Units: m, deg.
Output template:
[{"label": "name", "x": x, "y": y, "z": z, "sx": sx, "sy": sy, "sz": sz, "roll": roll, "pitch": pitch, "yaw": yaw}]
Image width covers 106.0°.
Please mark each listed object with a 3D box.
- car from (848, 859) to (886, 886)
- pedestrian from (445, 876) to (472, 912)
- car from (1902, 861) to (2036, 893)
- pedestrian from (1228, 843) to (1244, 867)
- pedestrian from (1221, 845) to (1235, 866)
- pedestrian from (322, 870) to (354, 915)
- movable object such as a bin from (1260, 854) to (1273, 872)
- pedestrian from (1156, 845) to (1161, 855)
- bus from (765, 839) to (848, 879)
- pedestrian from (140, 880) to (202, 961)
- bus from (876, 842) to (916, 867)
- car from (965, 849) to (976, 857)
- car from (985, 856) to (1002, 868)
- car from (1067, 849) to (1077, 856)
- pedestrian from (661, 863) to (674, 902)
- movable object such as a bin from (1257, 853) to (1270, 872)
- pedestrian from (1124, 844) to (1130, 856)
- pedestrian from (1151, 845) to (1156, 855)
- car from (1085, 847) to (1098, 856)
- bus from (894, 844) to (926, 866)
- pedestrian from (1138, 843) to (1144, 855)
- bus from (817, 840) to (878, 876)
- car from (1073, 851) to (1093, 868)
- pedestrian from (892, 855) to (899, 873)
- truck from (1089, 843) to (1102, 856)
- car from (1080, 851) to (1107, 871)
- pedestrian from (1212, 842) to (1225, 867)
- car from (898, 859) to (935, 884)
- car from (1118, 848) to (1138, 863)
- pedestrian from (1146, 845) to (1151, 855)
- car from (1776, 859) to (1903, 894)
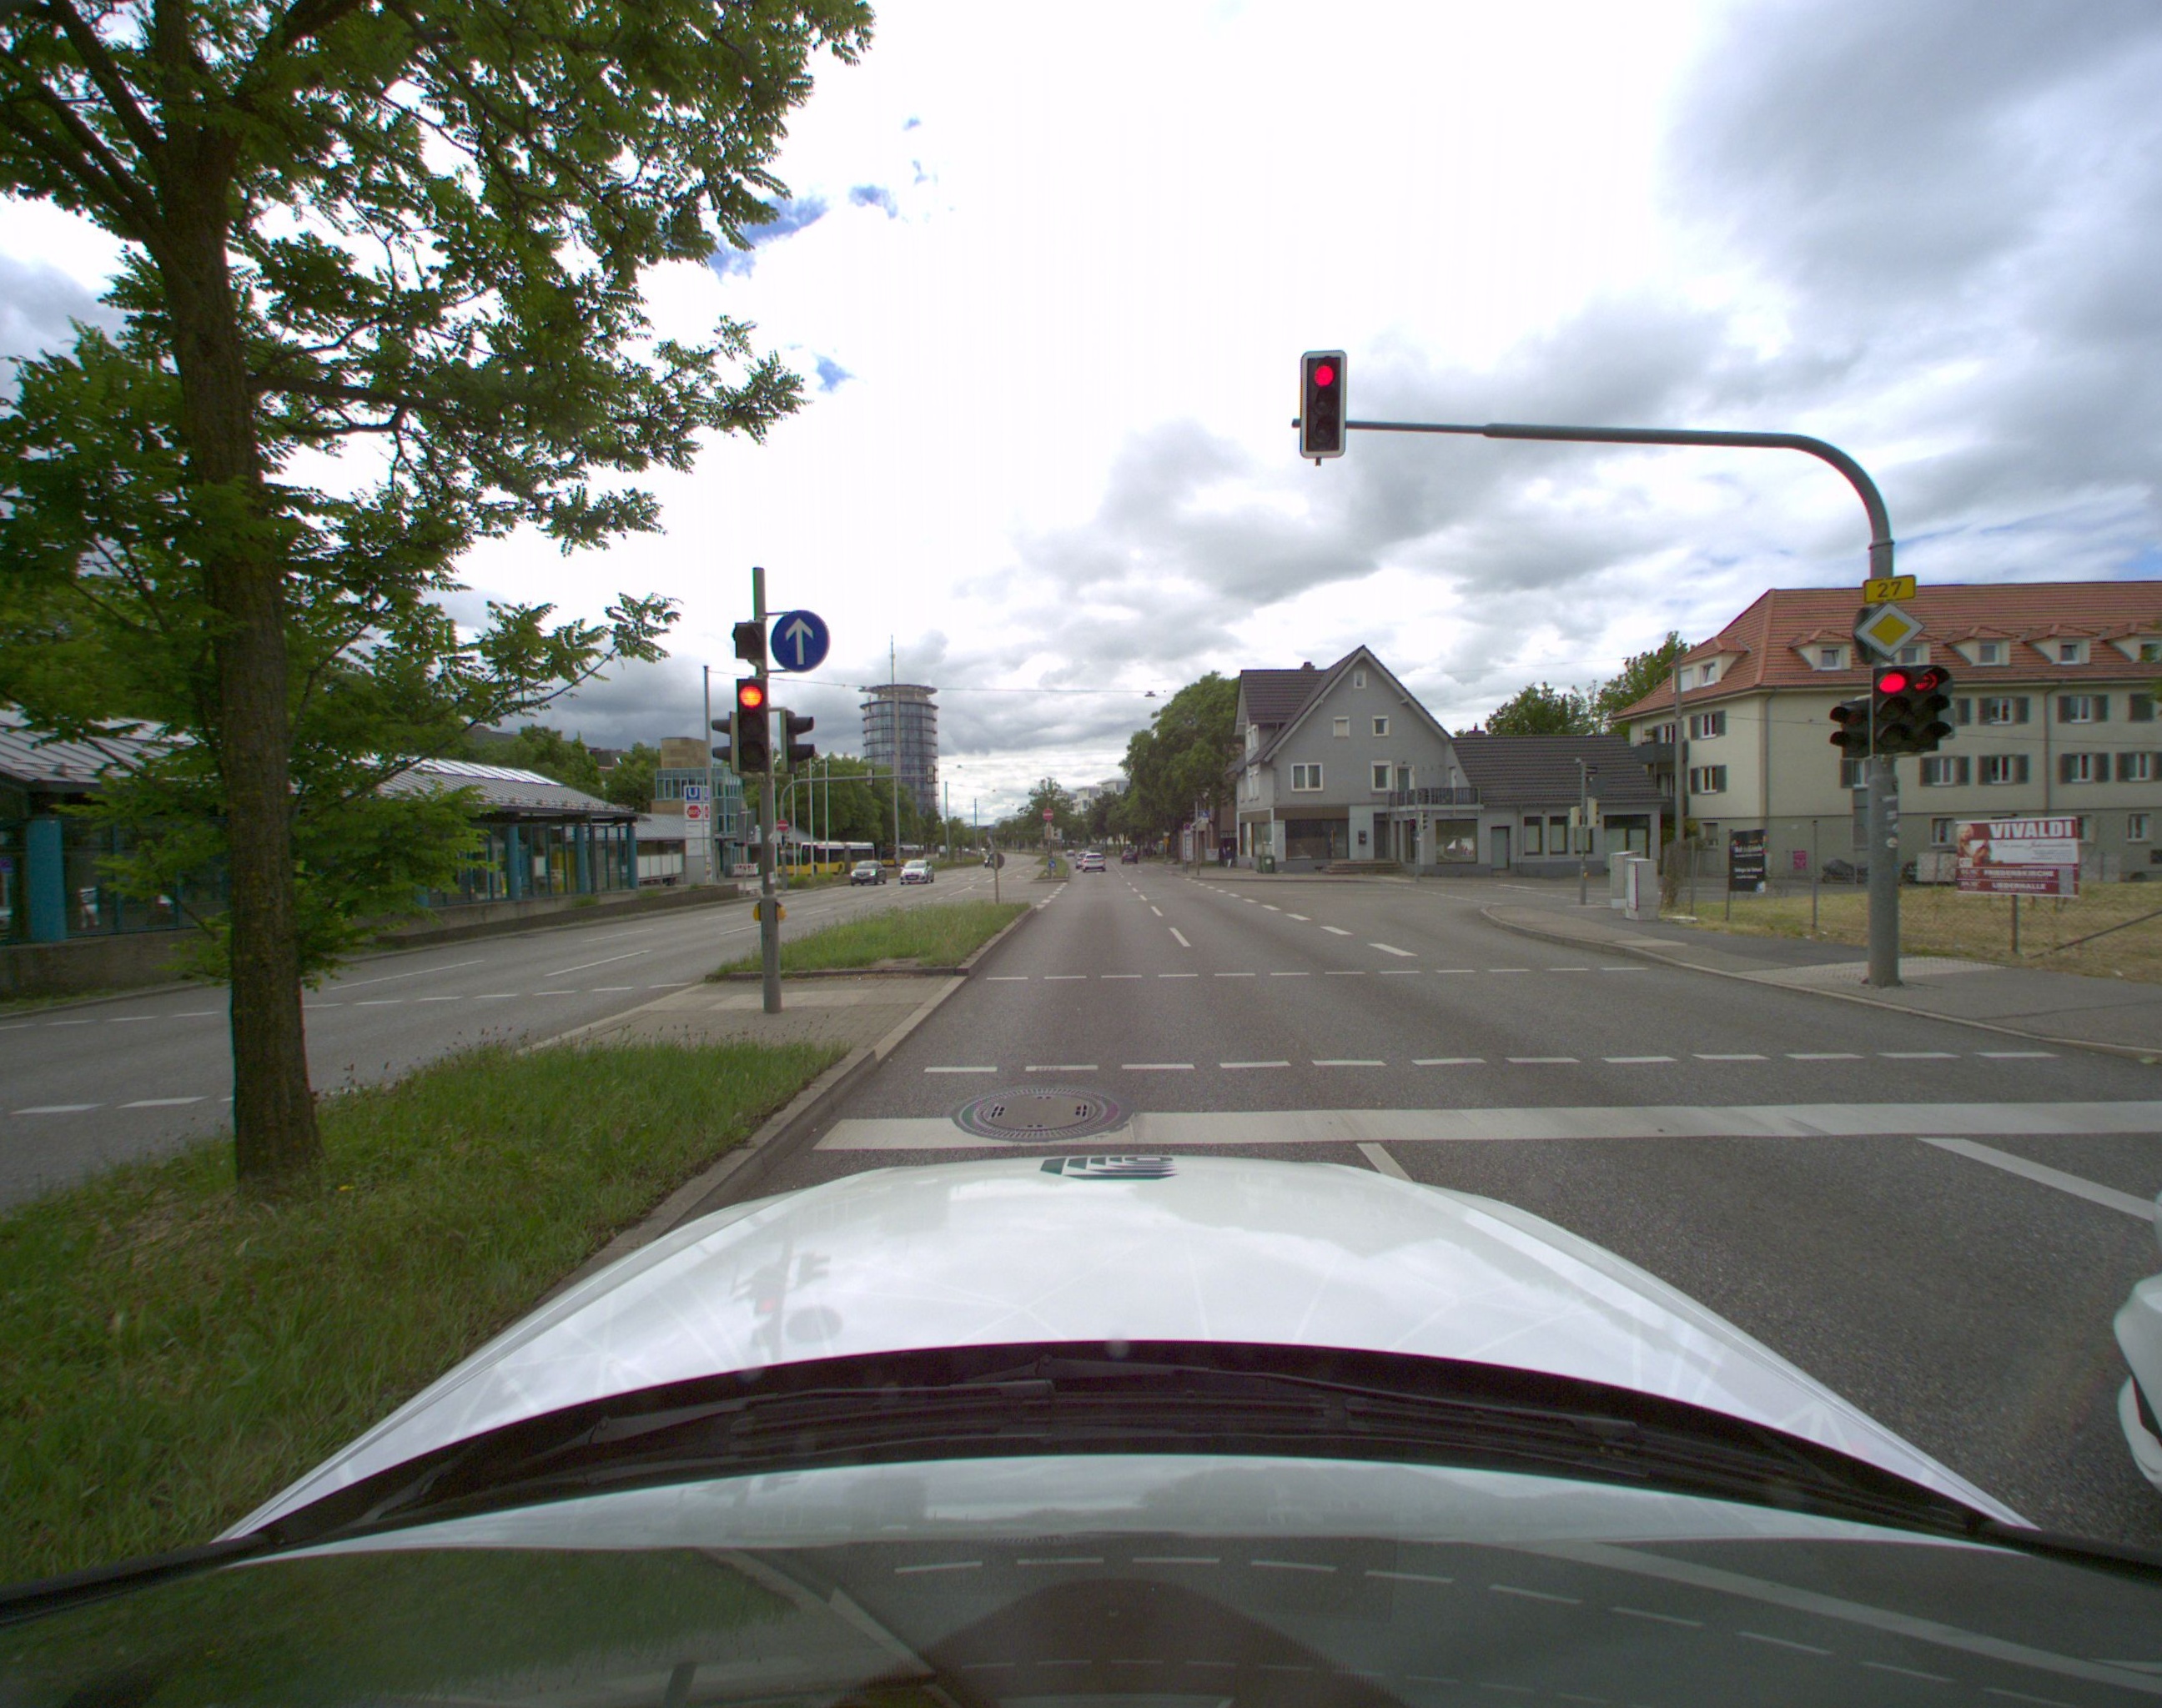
[{"label": "car", "x": -13.491, "y": 1.152, "z": 51.541, "sx": 1.681, "sy": 1.578, "sz": 3.344, "roll": -2, "pitch": 0, "yaw": -4}, {"label": "pedestrian", "x": -27.367, "y": 1.764, "z": 35.816, "sx": 0.630, "sy": 1.571, "sz": 0.663, "roll": -1, "pitch": -1, "yaw": 11}, {"label": "car", "x": 39.812, "y": 1.024, "z": 36.582, "sx": 3.972, "sy": 1.377, "sz": 1.871, "roll": 0, "pitch": 0, "yaw": 2}, {"label": "pedestrian", "x": 11.567, "y": 0.089, "z": 60.786, "sx": 0.870, "sy": 1.780, "sz": 0.703, "roll": -2, "pitch": 0, "yaw": -20}, {"label": "pedestrian", "x": 10.527, "y": 0.103, "z": 58.198, "sx": 0.698, "sy": 1.507, "sz": 0.875, "roll": -2, "pitch": 0, "yaw": 27}, {"label": "pedestrian", "x": -27.565, "y": 1.418, "z": 30.221, "sx": 0.520, "sy": 1.655, "sz": 0.709, "roll": -1, "pitch": 0, "yaw": -5}, {"label": "movable object such as a bin", "x": 10.033, "y": 0.480, "z": 43.963, "sx": 0.527, "sy": 0.979, "sz": 0.737, "roll": -2, "pitch": 0, "yaw": 2}, {"label": "pedestrian", "x": 12.637, "y": -0.689, "z": 132.479, "sx": 0.649, "sy": 1.570, "sz": 0.669, "roll": -2, "pitch": 0, "yaw": -6}, {"label": "bus", "x": -24.321, "y": 0.409, "z": 72.876, "sx": 2.975, "sy": 3.250, "sz": 10.186, "roll": -2, "pitch": 0, "yaw": 6}, {"label": "pedestrian", "x": -20.490, "y": 1.477, "z": 18.349, "sx": 0.528, "sy": 1.762, "sz": 0.755, "roll": -2, "pitch": 0, "yaw": -4}, {"label": "bus", "x": -26.089, "y": 0.107, "z": 115.326, "sx": 3.135, "sy": 3.225, "sz": 10.282, "roll": -2, "pitch": 0, "yaw": 0}, {"label": "car", "x": -27.249, "y": -0.157, "z": 201.226, "sx": 1.958, "sy": 2.014, "sz": 4.001, "roll": 0, "pitch": -1, "yaw": 2}, {"label": "car", "x": -11.066, "y": 0.965, "z": 102.835, "sx": 1.696, "sy": 1.492, "sz": 3.562, "roll": -2, "pitch": 0, "yaw": 1}, {"label": "car", "x": -1.902, "y": -0.342, "z": 173.480, "sx": 1.963, "sy": 1.420, "sz": 4.017, "roll": -2, "pitch": 0, "yaw": -3}, {"label": "pedestrian", "x": -17.266, "y": 1.175, "z": 33.993, "sx": 0.420, "sy": 1.591, "sz": 0.353, "roll": -2, "pitch": 0, "yaw": -28}, {"label": "movable object such as a bin", "x": 10.039, "y": 0.464, "z": 44.754, "sx": 0.527, "sy": 0.979, "sz": 0.737, "roll": -2, "pitch": 0, "yaw": 2}, {"label": "pedestrian", "x": 9.554, "y": -0.813, "z": 169.023, "sx": 0.930, "sy": 2.308, "sz": 1.008, "roll": 0, "pitch": -1, "yaw": -8}, {"label": "pedestrian", "x": 11.825, "y": -0.635, "z": 132.638, "sx": 0.649, "sy": 1.570, "sz": 0.669, "roll": -2, "pitch": 0, "yaw": -6}, {"label": "car", "x": 2.105, "y": -0.461, "z": 165.292, "sx": 2.246, "sy": 1.757, "sz": 4.928, "roll": -2, "pitch": 0, "yaw": -3}, {"label": "bus", "x": -26.031, "y": 0.133, "z": 124.335, "sx": 3.134, "sy": 3.225, "sz": 7.765, "roll": -2, "pitch": 0, "yaw": 0}, {"label": "pedestrian", "x": 10.448, "y": -0.853, "z": 141.356, "sx": 0.967, "sy": 2.014, "sz": 0.981, "roll": 0, "pitch": -1, "yaw": 1}, {"label": "bus", "x": -23.349, "y": 0.377, "z": 81.876, "sx": 2.975, "sy": 3.270, "sz": 7.889, "roll": -2, "pitch": 0, "yaw": 6}, {"label": "car", "x": 0.214, "y": 0.491, "z": 77.170, "sx": 1.816, "sy": 1.540, "sz": 4.115, "roll": -2, "pitch": 0, "yaw": 1}, {"label": "pedestrian", "x": -19.390, "y": 1.073, "z": 85.080, "sx": 0.663, "sy": 1.897, "sz": 0.681, "roll": -2, "pitch": 0, "yaw": -19}, {"label": "truck", "x": 2.762, "y": -0.806, "z": 156.678, "sx": 2.246, "sy": 2.416, "sz": 4.928, "roll": -1, "pitch": 0, "yaw": -3}, {"label": "car", "x": 1.054, "y": 0.570, "z": 64.872, "sx": 1.986, "sy": 1.477, "sz": 4.258, "roll": -2, "pitch": 0, "yaw": 2}, {"label": "pedestrian", "x": 9.969, "y": 0.051, "z": 59.022, "sx": 0.699, "sy": 1.780, "sz": 0.875, "roll": -2, "pitch": 0, "yaw": 26}, {"label": "car", "x": -10.338, "y": 1.060, "z": 51.330, "sx": 1.680, "sy": 1.462, "sz": 3.552, "roll": -2, "pitch": 0, "yaw": -3}, {"label": "car", "x": 5.152, "y": 0.209, "z": 89.534, "sx": 1.883, "sy": 1.494, "sz": 4.098, "roll": -3, "pitch": -1, "yaw": 0}, {"label": "pedestrian", "x": 11.041, "y": -0.604, "z": 132.705, "sx": 0.649, "sy": 1.570, "sz": 0.669, "roll": -2, "pitch": 0, "yaw": -6}, {"label": "car", "x": 34.043, "y": 0.987, "z": 36.621, "sx": 3.972, "sy": 1.537, "sz": 1.871, "roll": 0, "pitch": 0, "yaw": 2}]
